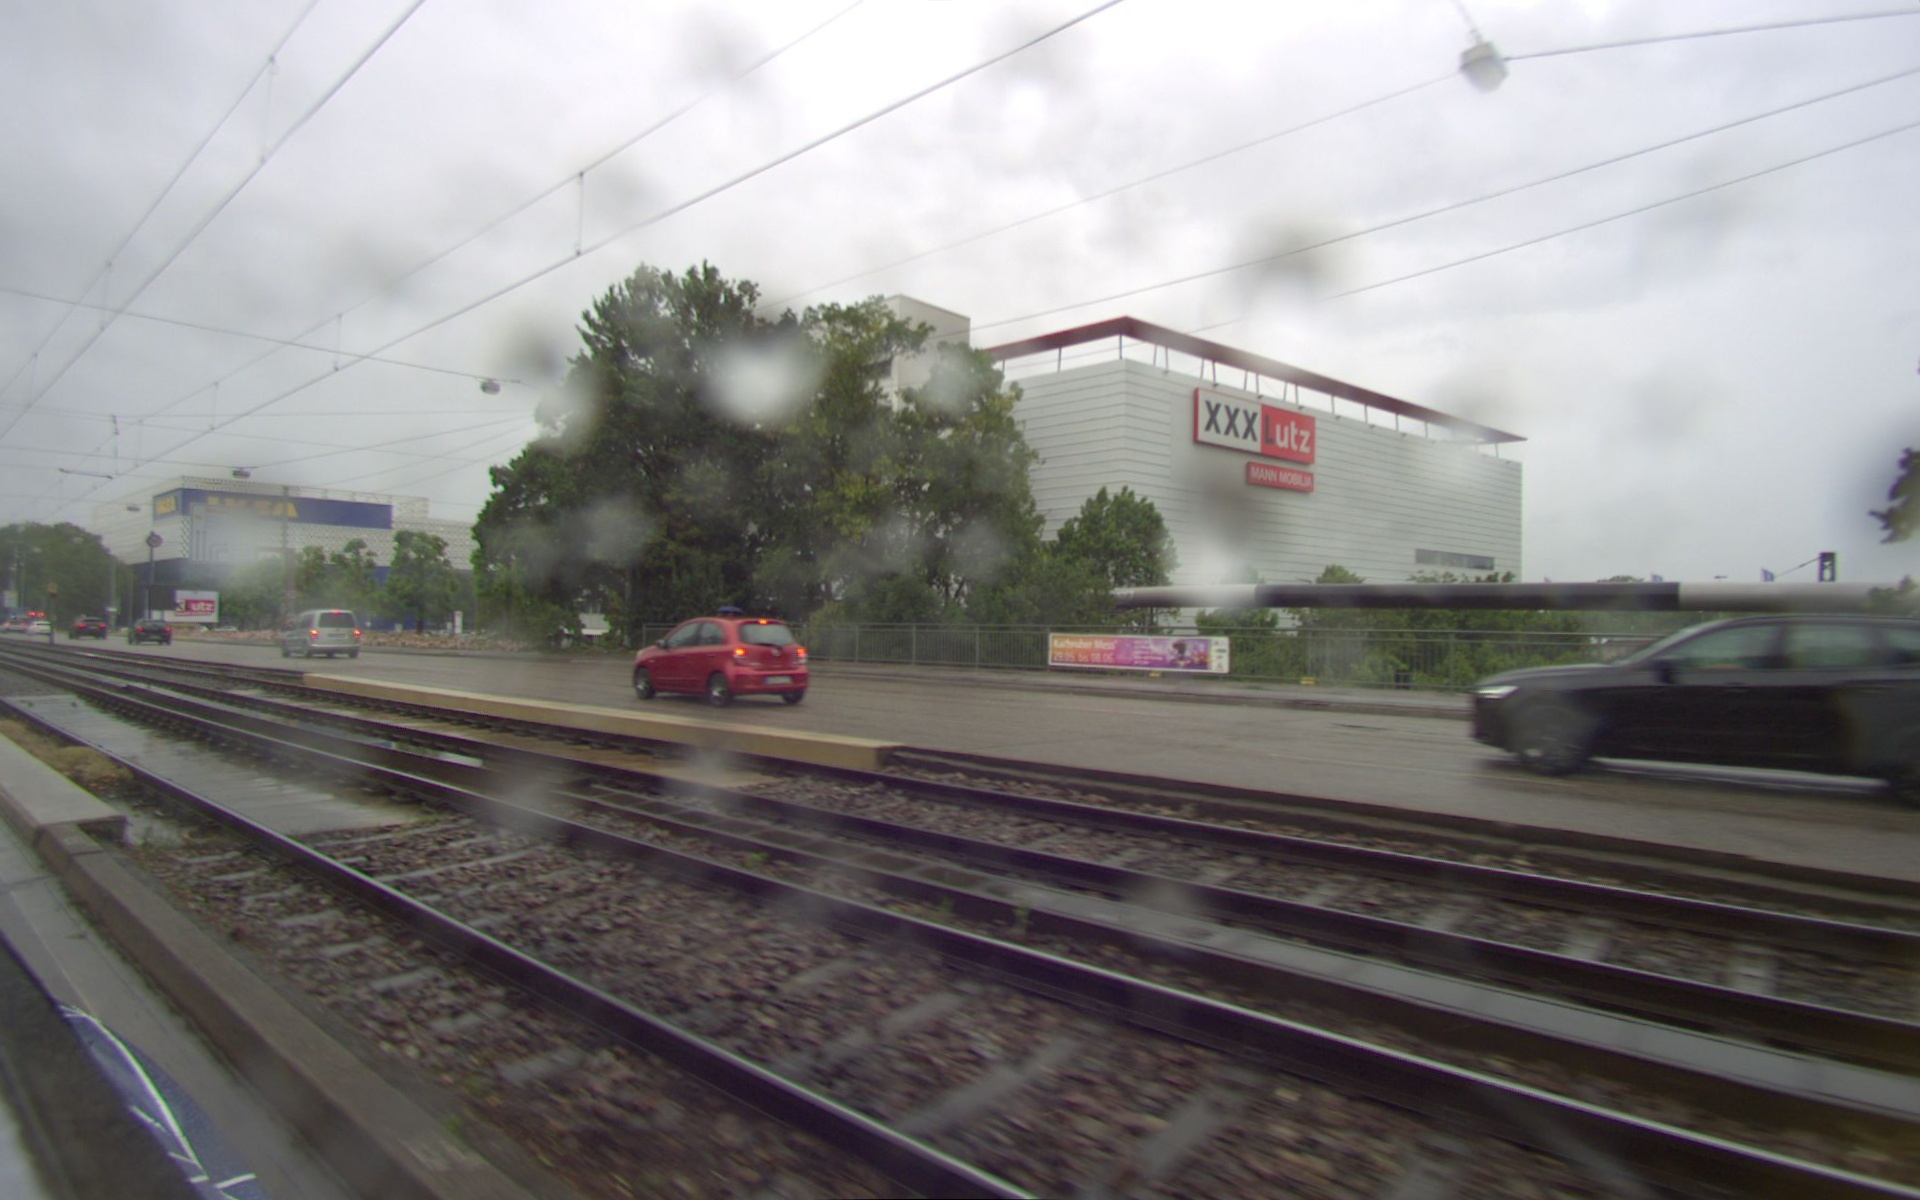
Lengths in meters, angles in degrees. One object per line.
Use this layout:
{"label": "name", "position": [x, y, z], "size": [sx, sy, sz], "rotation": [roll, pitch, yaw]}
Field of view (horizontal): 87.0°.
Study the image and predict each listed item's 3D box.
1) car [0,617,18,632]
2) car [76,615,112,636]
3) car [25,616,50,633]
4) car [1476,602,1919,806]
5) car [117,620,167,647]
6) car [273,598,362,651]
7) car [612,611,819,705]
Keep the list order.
{"label": "car", "position": [-105.286, 2.699, 111.775], "size": [4.001, 1.546, 1.549], "rotation": [-1, -2, 43]}
{"label": "car", "position": [-65.553, 1.939, 76.578], "size": [4.000, 1.557, 1.626], "rotation": [-1, -2, 43]}
{"label": "car", "position": [-87.234, 2.301, 95.687], "size": [4.001, 1.557, 1.549], "rotation": [-1, -1, 44]}
{"label": "car", "position": [7.780, 0.878, 9.559], "size": [4.869, 1.665, 1.917], "rotation": [-1, -2, 41]}
{"label": "car", "position": [-49.558, 2.001, 61.296], "size": [3.998, 1.557, 1.686], "rotation": [-1, -2, 41]}
{"label": "car", "position": [-24.844, 0.939, 39.086], "size": [3.998, 1.924, 1.821], "rotation": [-1, -2, 41]}
{"label": "car", "position": [-4.389, 0.949, 17.845], "size": [4.001, 1.465, 1.685], "rotation": [-1, -2, 44]}
